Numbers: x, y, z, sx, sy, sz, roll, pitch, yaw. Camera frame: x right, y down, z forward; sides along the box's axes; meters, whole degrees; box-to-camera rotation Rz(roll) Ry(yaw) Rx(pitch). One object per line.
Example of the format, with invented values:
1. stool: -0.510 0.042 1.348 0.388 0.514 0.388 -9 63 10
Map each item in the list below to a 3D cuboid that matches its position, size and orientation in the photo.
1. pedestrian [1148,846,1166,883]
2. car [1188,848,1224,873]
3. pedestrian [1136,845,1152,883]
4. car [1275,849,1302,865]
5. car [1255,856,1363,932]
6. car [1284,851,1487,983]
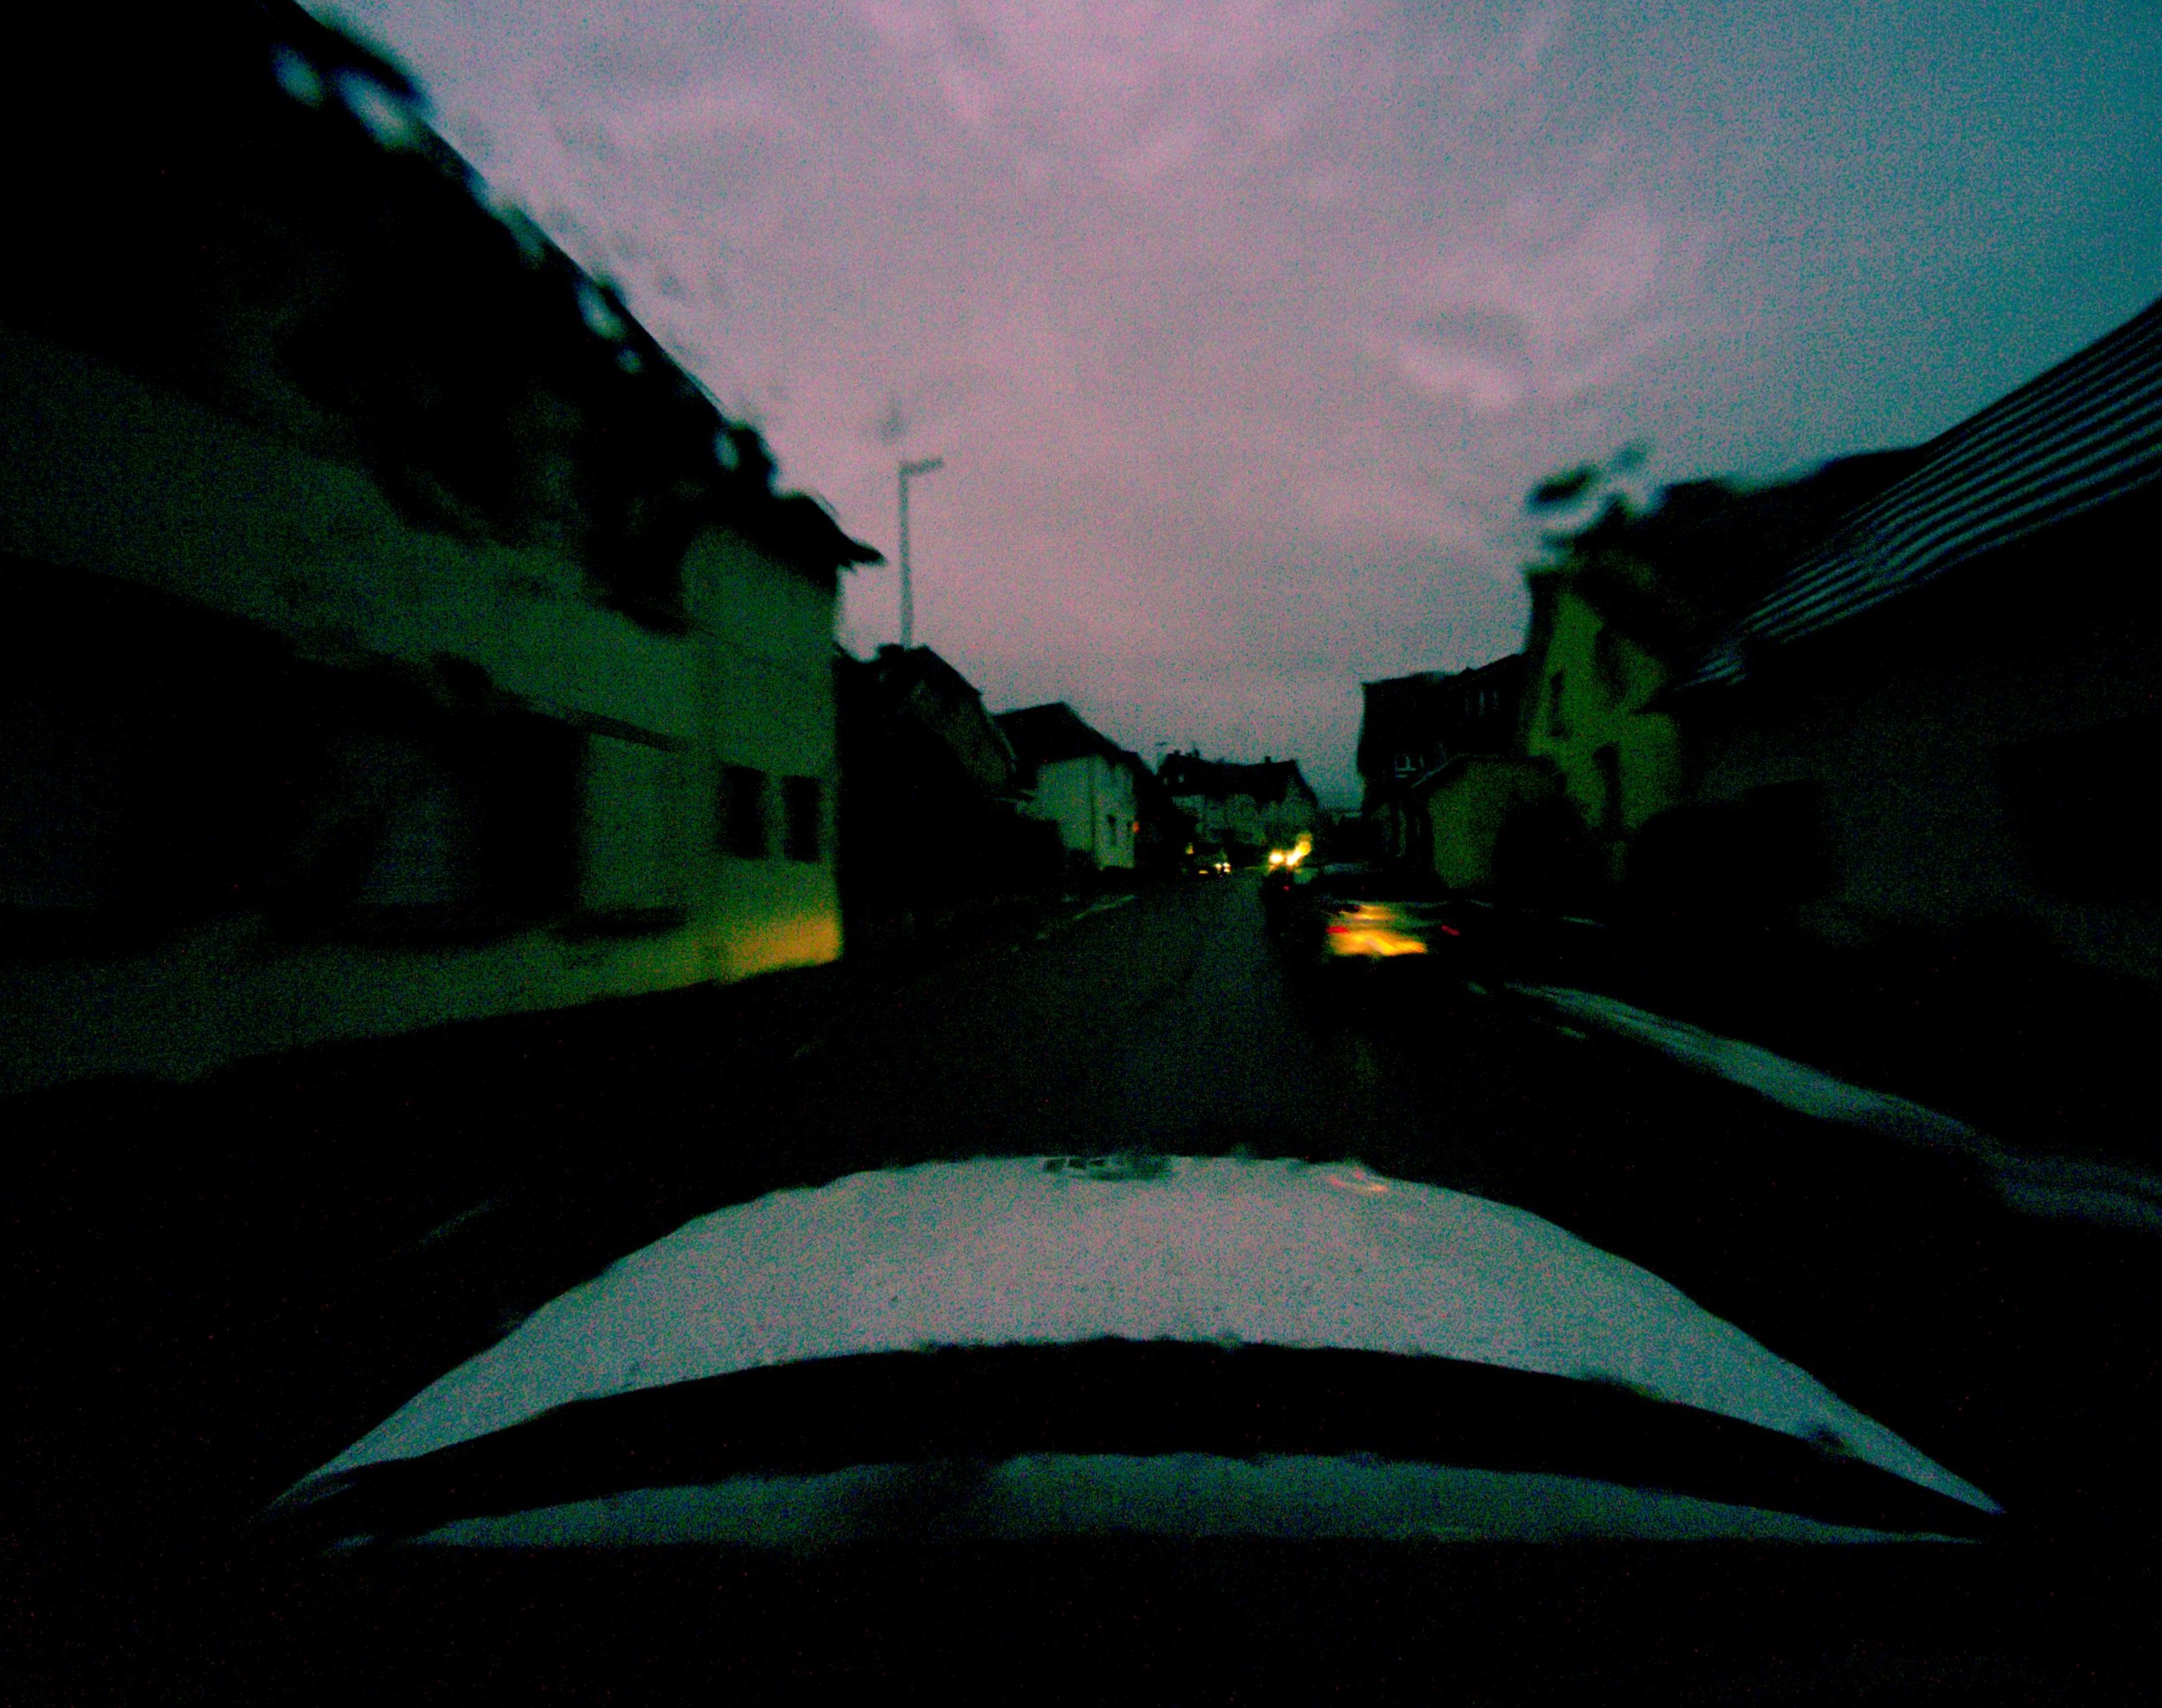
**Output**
1. pedestrian: 3.707 0.512 39.864 0.701 1.779 0.815 -2 -1 14
2. car: 7.876 0.401 50.973 1.810 1.440 4.083 -2 0 14
3. pedestrian: 3.104 0.496 40.005 0.594 1.869 0.815 -2 -1 13
4. car: 20.812 0.316 81.673 1.741 1.580 4.024 -2 -1 27
5. car: 4.869 0.786 17.978 1.716 1.432 4.810 -1 -1 9
6. car: 3.923 0.722 11.294 1.779 1.439 4.635 -2 -1 10
